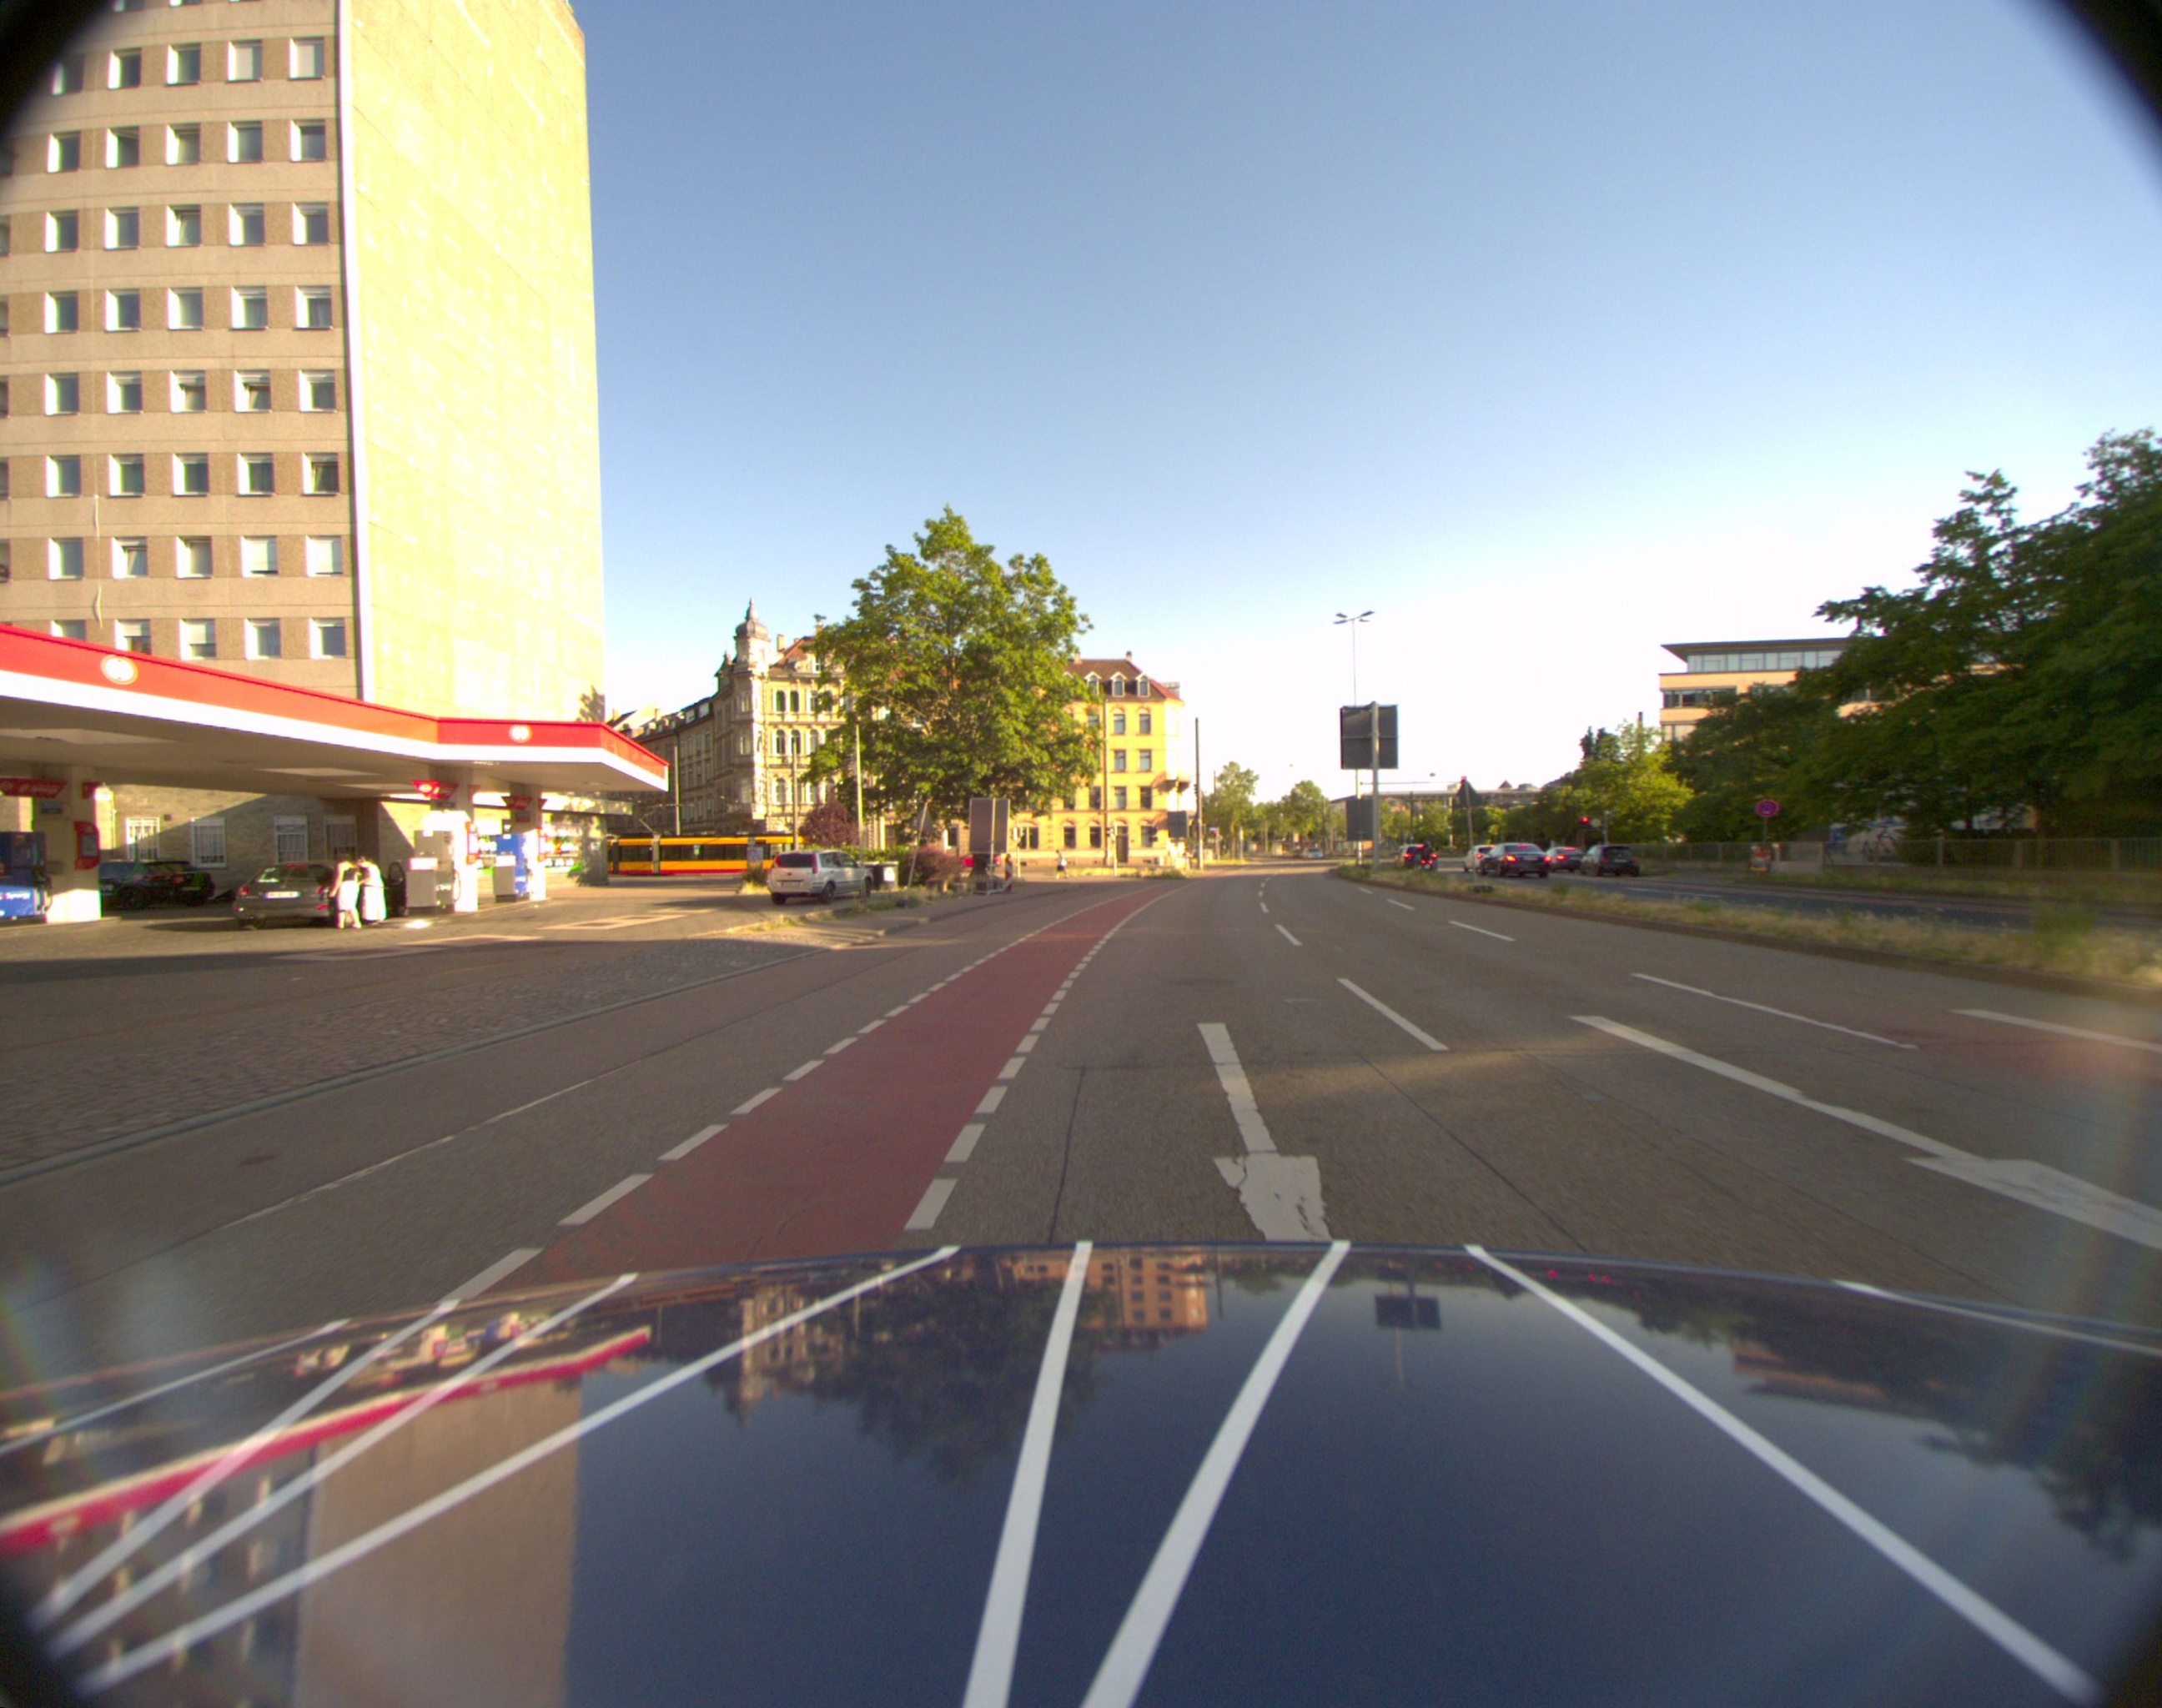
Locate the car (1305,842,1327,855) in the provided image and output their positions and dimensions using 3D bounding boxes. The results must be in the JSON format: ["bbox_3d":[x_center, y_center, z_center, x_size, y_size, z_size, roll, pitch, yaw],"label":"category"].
[{"bbox_3d":[29.034,-0.700,93.904,1.997,1.565,4.002,-1,1,7],"label":"car"}]

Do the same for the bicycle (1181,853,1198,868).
[{"bbox_3d":[7.538,0.453,52.582,0.398,1.023,1.675,0,1,38],"label":"bicycle"}]

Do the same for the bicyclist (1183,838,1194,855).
[{"bbox_3d":[11.600,-0.850,82.065,1.070,1.831,1.304,-1,1,9],"label":"bicyclist"}]

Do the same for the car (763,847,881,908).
[{"bbox_3d":[-7.506,0.614,22.424,1.622,1.585,3.896,-1,1,9],"label":"car"}]

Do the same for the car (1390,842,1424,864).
[{"bbox_3d":[19.824,-0.096,46.322,1.720,1.289,4.254,-1,1,20],"label":"car"}]

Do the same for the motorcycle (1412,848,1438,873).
[{"bbox_3d":[16.012,0.289,35.378,0.859,1.101,2.473,-1,1,19],"label":"motorcycle"}]

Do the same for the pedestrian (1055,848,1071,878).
[{"bbox_3d":[-1.100,0.537,46.360,0.826,1.779,0.912,-1,1,4],"label":"pedestrian"}]

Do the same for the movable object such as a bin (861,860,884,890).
[{"bbox_3d":[-7.333,0.727,26.723,0.573,1.023,0.674,-1,1,6],"label":"movable object such as a bin"}]

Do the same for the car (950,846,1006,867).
[{"bbox_3d":[-8.568,0.191,63.577,4.463,1.605,1.820,-1,1,-4],"label":"car"}]

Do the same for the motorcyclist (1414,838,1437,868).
[{"bbox_3d":[15.959,-0.057,35.236,0.852,1.390,1.063,-1,1,19],"label":"motorcyclist"}]

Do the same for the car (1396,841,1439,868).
[{"bbox_3d":[17.463,-0.010,39.583,1.720,1.289,4.382,-1,1,19],"label":"car"}]

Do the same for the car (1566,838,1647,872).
[{"bbox_3d":[24.460,0.034,35.542,1.856,1.455,4.004,-1,1,14],"label":"car"}]

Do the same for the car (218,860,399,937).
[{"bbox_3d":[-16.922,0.897,16.860,1.592,1.431,3.295,-1,1,-22],"label":"car"}]

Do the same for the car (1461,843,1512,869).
[{"bbox_3d":[22.071,0.082,41.440,1.721,1.311,3.899,-1,1,17],"label":"car"}]

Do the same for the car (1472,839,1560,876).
[{"bbox_3d":[19.401,0.109,34.172,1.996,1.487,5.296,-1,1,13],"label":"car"}]

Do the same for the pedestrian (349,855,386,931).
[{"bbox_3d":[-15.541,0.826,16.560,0.535,1.612,0.567,-2,2,-42],"label":"pedestrian"}]

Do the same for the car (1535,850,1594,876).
[{"bbox_3d":[26.225,0.452,41.321,1.721,1.289,3.899,-1,1,17],"label":"car"}]

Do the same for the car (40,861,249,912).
[{"bbox_3d":[-29.043,0.976,23.676,3.997,1.440,2.000,-1,1,0],"label":"car"}]

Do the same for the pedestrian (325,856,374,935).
[{"bbox_3d":[-15.321,0.848,15.927,0.534,1.612,0.567,-1,1,-21],"label":"pedestrian"}]

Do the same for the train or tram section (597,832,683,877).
[{"bbox_3d":[-35.266,0.052,60.824,5.294,3.488,2.872,-1,1,13],"label":"train or tram section"}]

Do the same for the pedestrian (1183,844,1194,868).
[{"bbox_3d":[7.448,0.148,52.615,0.488,1.622,0.526,0,1,38],"label":"pedestrian"}]

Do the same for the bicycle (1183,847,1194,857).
[{"bbox_3d":[11.614,-0.230,82.111,1.070,1.018,2.977,-1,1,9],"label":"bicycle"}]

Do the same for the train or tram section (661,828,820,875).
[{"bbox_3d":[-26.781,-0.211,60.063,11.286,3.488,2.870,-1,1,3],"label":"train or tram section"}]

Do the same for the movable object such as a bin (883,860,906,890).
[{"bbox_3d":[-6.537,0.738,26.649,0.573,1.023,0.674,-1,1,6],"label":"movable object such as a bin"}]
